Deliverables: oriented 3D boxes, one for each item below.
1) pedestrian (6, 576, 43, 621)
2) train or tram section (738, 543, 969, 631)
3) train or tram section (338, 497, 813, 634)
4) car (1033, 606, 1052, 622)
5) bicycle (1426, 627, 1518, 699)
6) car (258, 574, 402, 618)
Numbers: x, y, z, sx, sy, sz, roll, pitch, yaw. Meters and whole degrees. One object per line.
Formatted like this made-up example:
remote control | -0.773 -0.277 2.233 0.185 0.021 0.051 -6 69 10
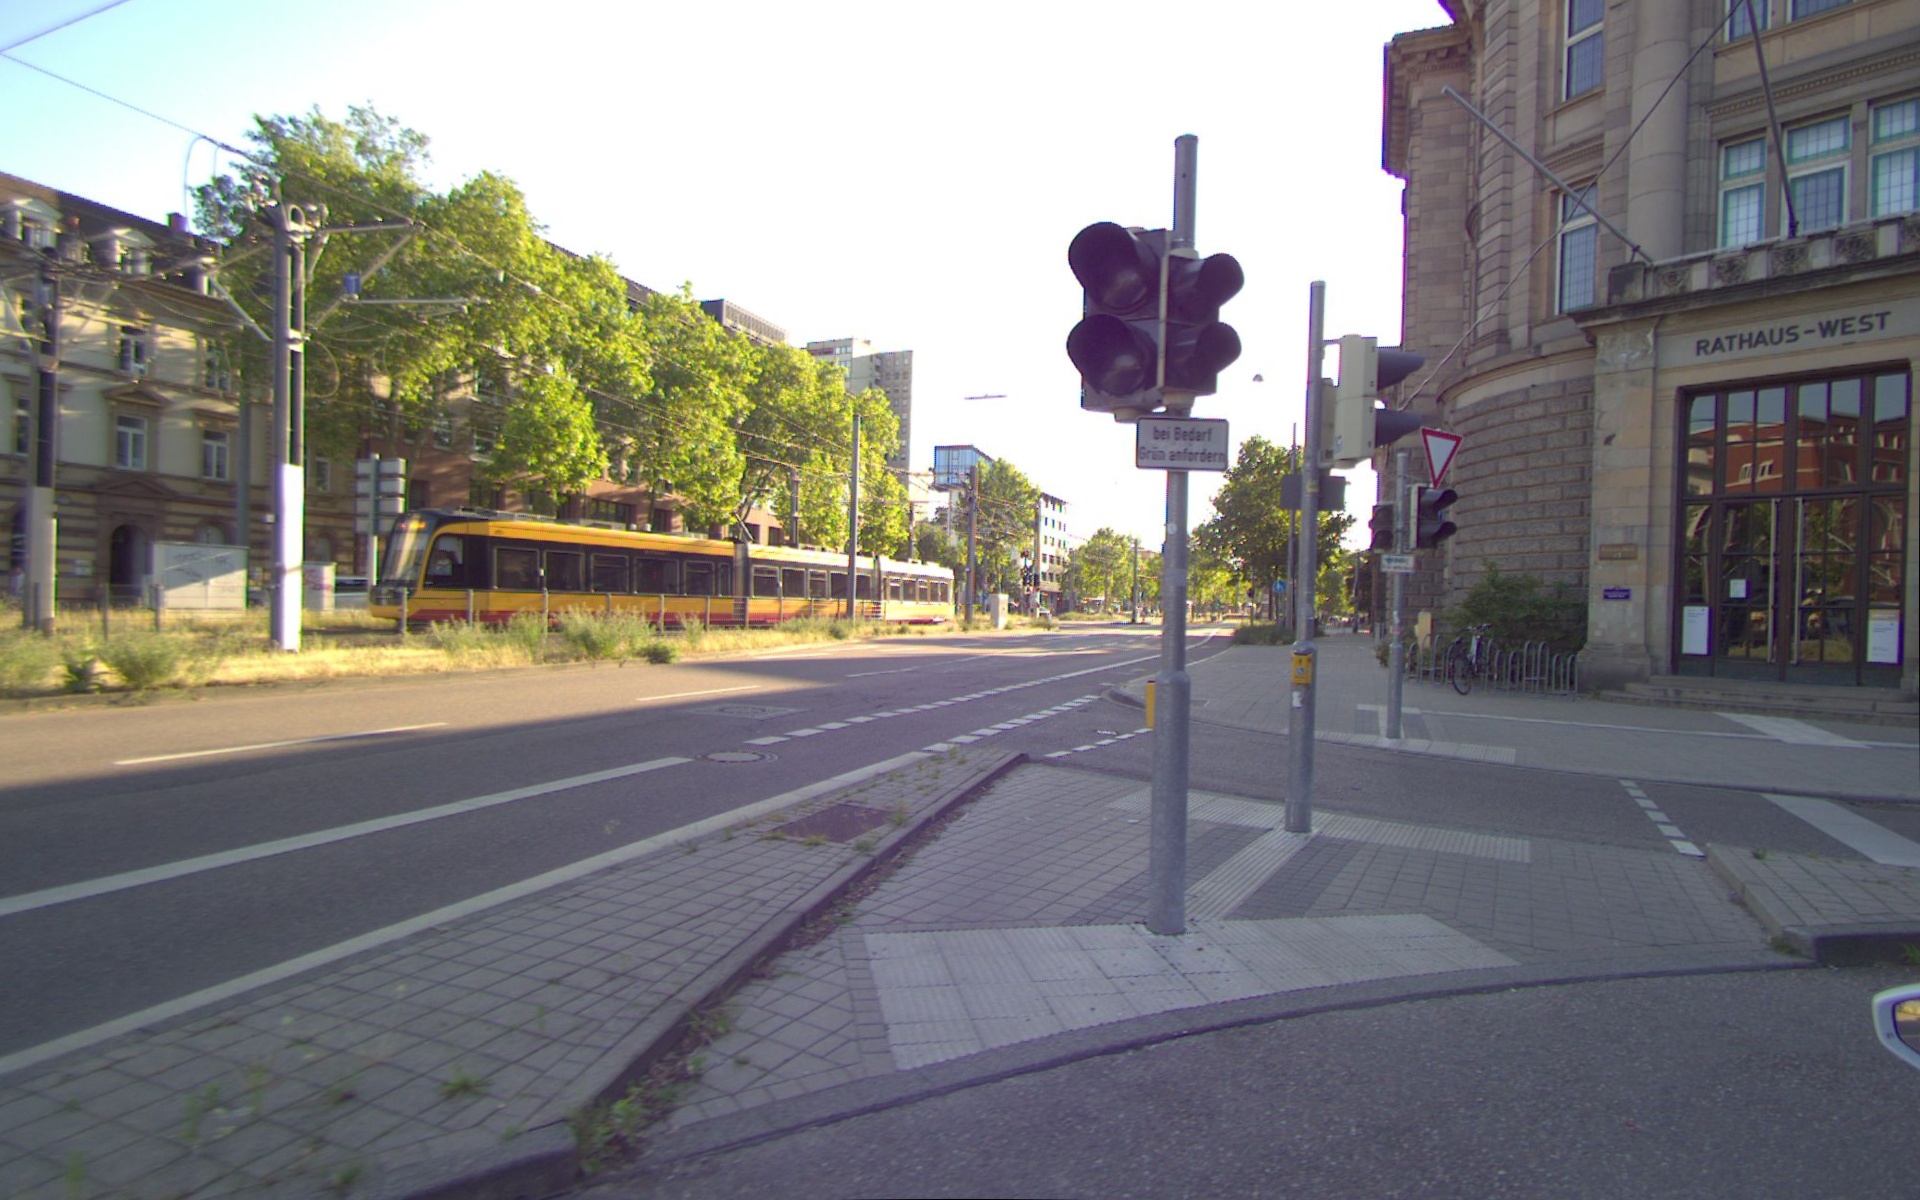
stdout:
pedestrian | -33.159 -0.047 35.610 0.692 1.583 0.691 2 0 19
train or tram section | -4.381 -0.390 50.997 3.061 3.606 19.932 1 -1 20
train or tram section | -11.697 -0.733 34.819 3.066 3.606 17.449 1 -1 29
car | 8.497 1.426 102.898 1.578 1.549 3.559 1 0 10
bicycle | 9.439 1.129 18.472 0.858 1.212 2.225 1 -1 44
car | -24.982 -0.126 40.028 1.731 1.606 4.734 1 -1 22
